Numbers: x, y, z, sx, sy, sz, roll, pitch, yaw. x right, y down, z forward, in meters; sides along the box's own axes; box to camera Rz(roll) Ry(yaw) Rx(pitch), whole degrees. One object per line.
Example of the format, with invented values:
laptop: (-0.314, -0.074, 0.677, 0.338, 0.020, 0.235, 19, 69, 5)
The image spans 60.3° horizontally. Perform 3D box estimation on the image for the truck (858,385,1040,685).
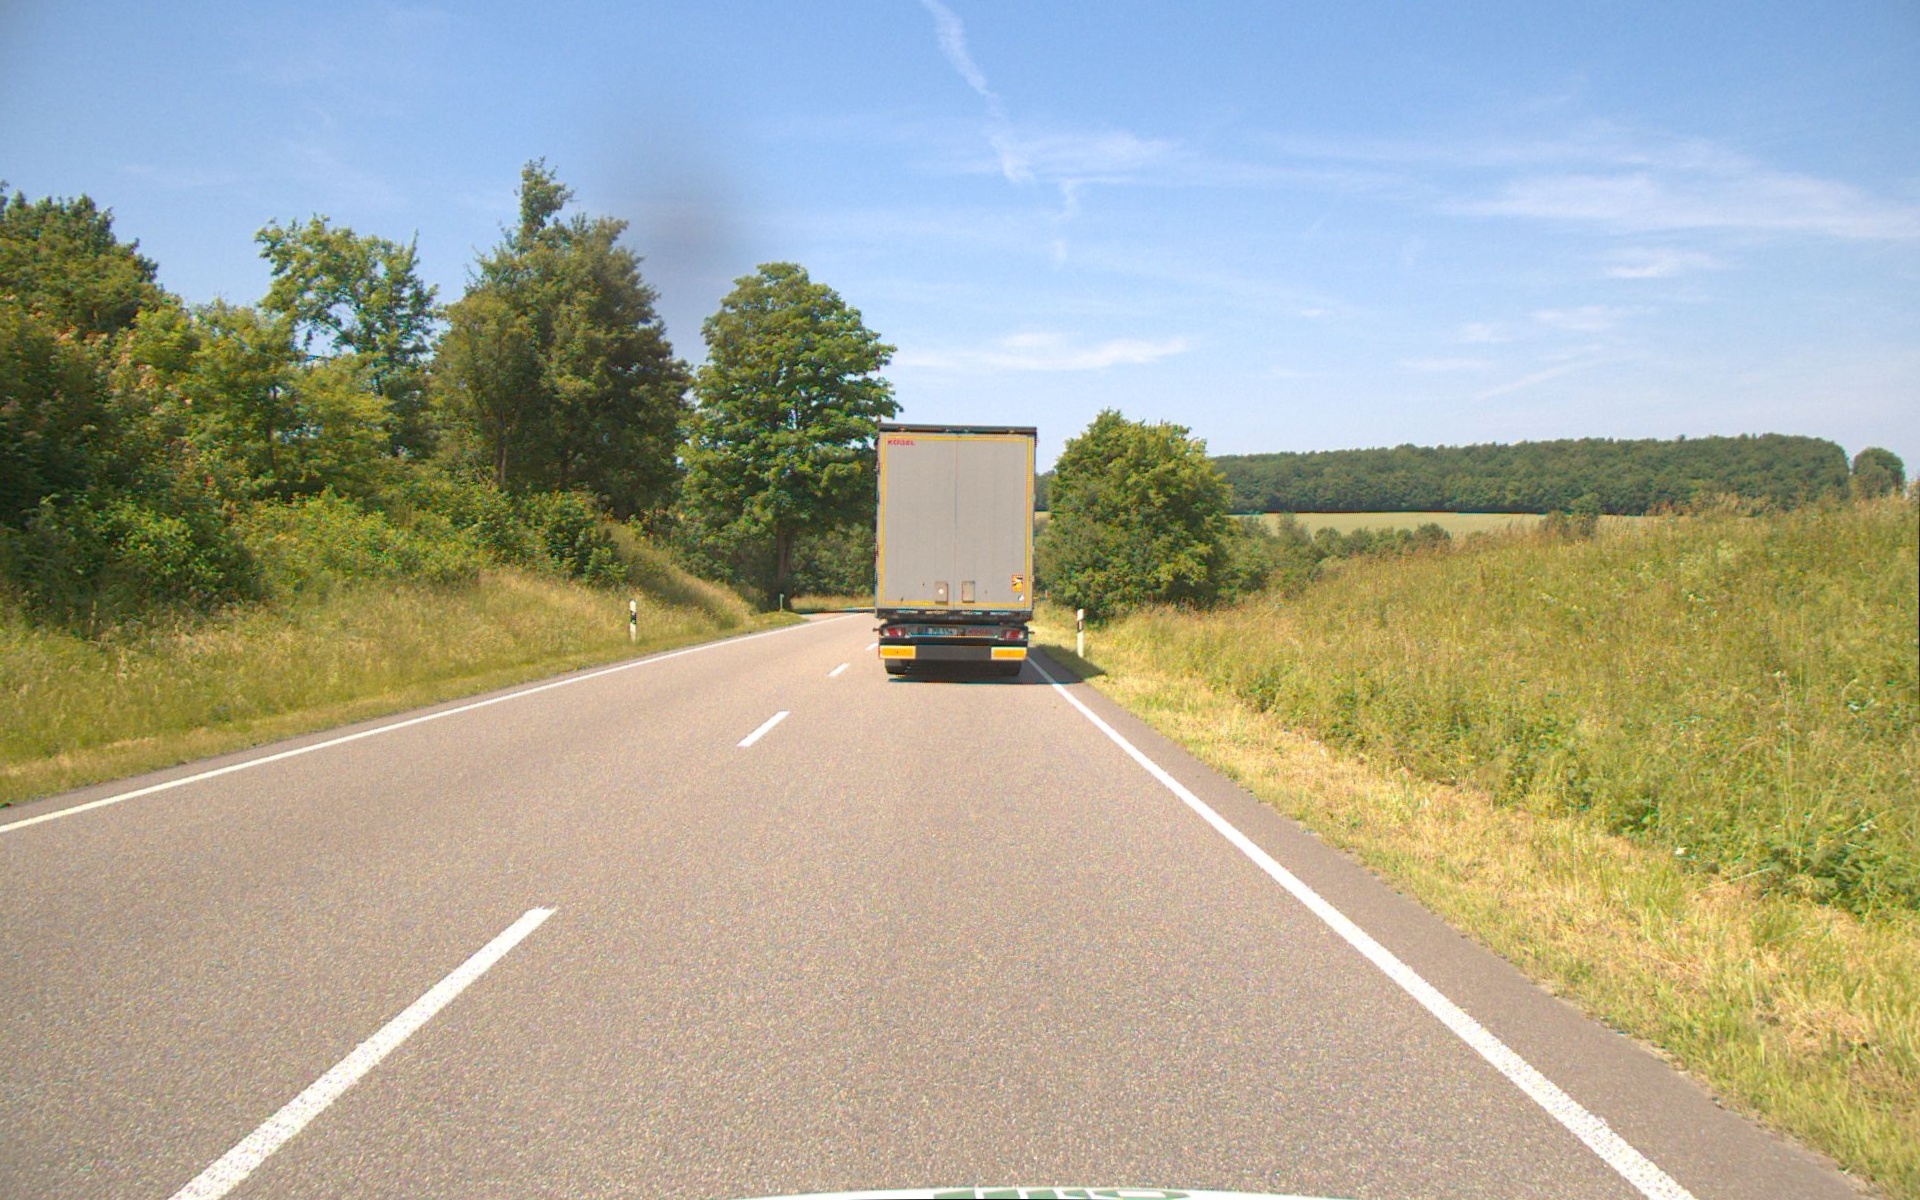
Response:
truck: (-0.081, -1.082, 31.671, 2.759, 4.611, 11.769, 1, 1, 1)
